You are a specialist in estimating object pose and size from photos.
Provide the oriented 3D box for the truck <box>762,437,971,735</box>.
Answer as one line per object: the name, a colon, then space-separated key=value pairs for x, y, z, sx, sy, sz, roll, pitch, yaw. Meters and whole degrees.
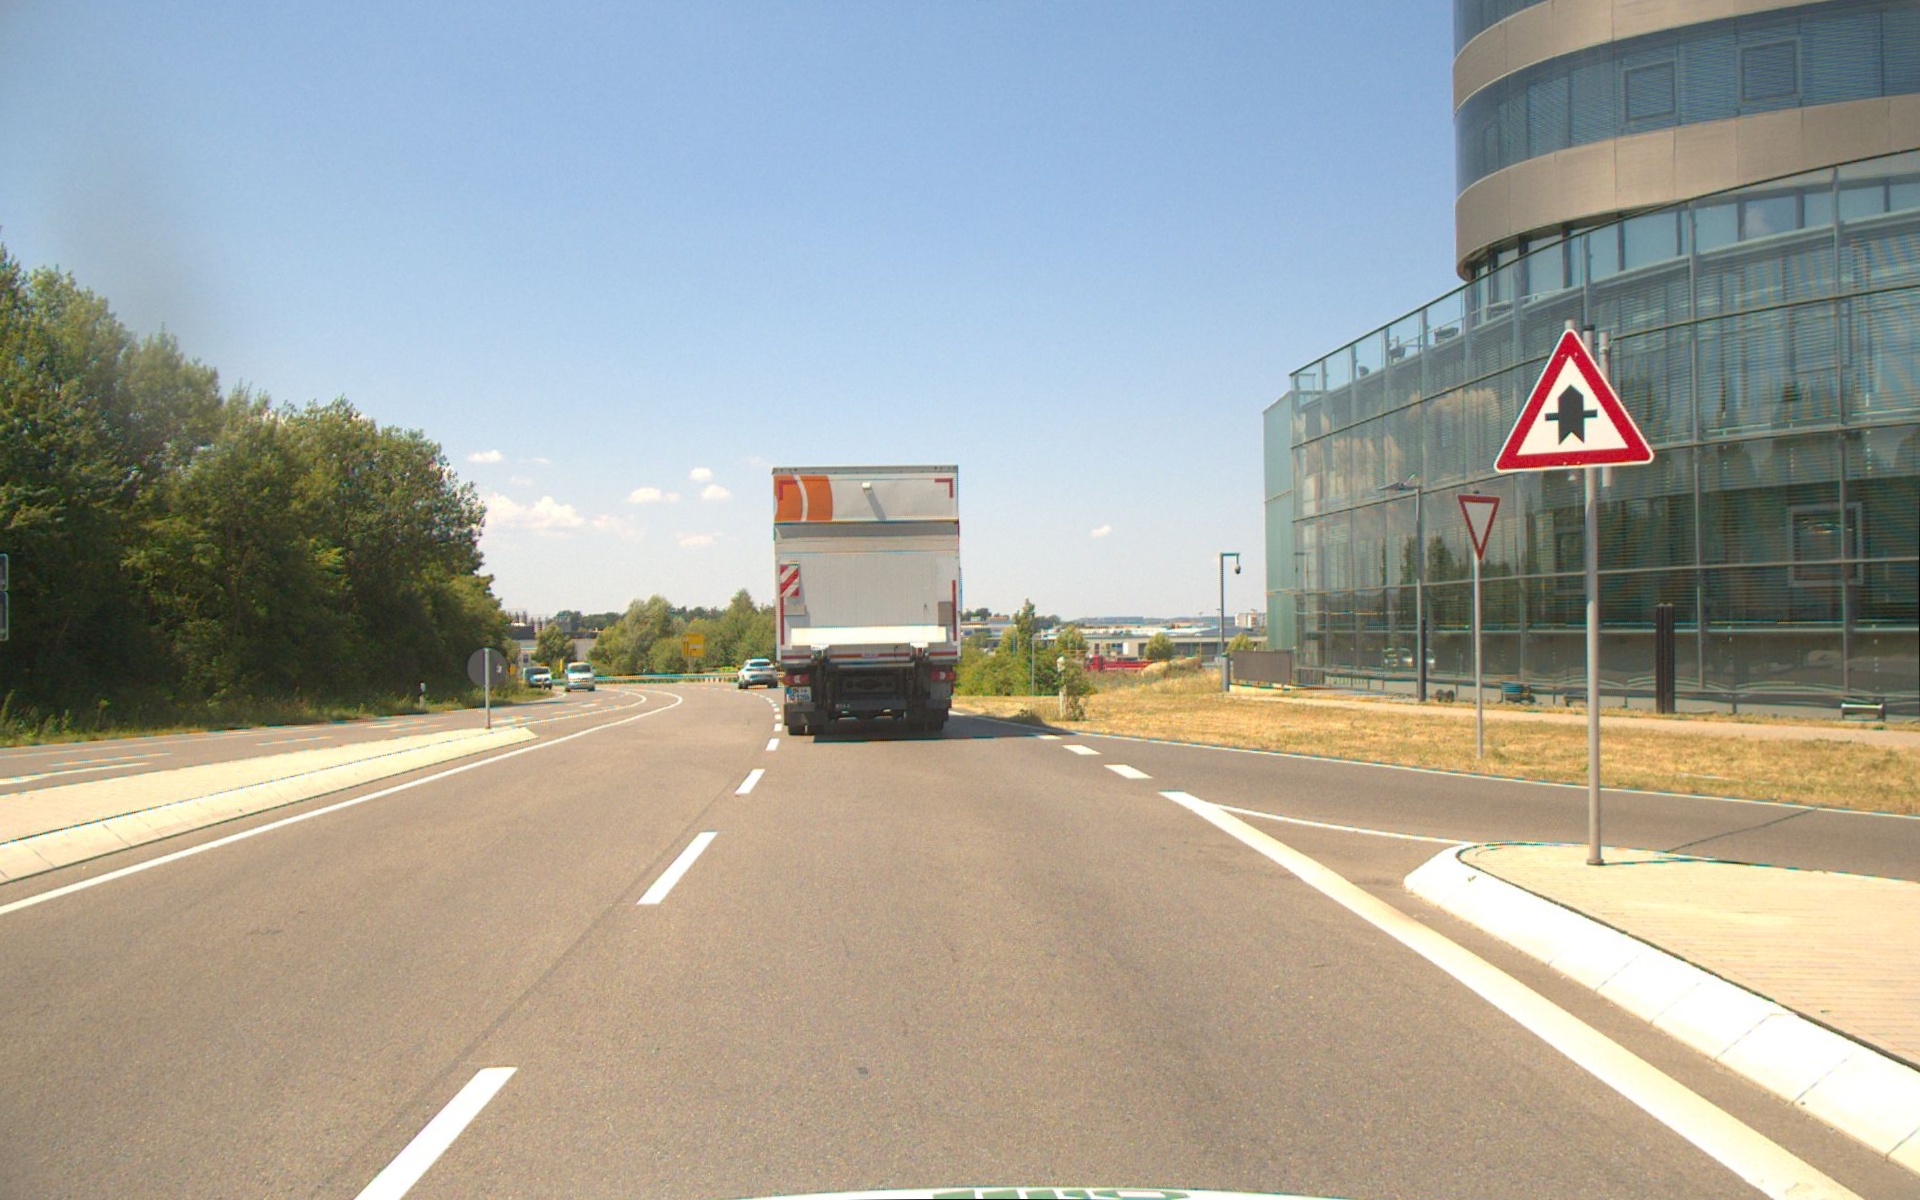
truck: x=-1.647 y=-0.091 z=26.681 sx=2.716 sy=3.927 sz=9.359 roll=-1 pitch=-1 yaw=-5

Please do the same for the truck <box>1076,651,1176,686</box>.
truck: x=17.381 y=7.141 z=173.818 sx=10.151 sy=3.276 sz=2.456 roll=1 pitch=-1 yaw=22

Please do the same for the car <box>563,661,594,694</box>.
car: x=-25.749 y=5.185 z=111.466 sx=1.773 sy=2.005 sz=3.982 roll=2 pitch=-1 yaw=-16

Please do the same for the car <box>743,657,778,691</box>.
car: x=-10.461 y=3.848 z=86.691 sx=1.768 sy=1.584 sz=3.994 roll=1 pitch=-1 yaw=-7

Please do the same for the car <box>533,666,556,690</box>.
car: x=-35.445 y=6.642 z=141.012 sx=1.773 sy=1.872 sz=3.982 roll=2 pitch=-1 yaw=-16
